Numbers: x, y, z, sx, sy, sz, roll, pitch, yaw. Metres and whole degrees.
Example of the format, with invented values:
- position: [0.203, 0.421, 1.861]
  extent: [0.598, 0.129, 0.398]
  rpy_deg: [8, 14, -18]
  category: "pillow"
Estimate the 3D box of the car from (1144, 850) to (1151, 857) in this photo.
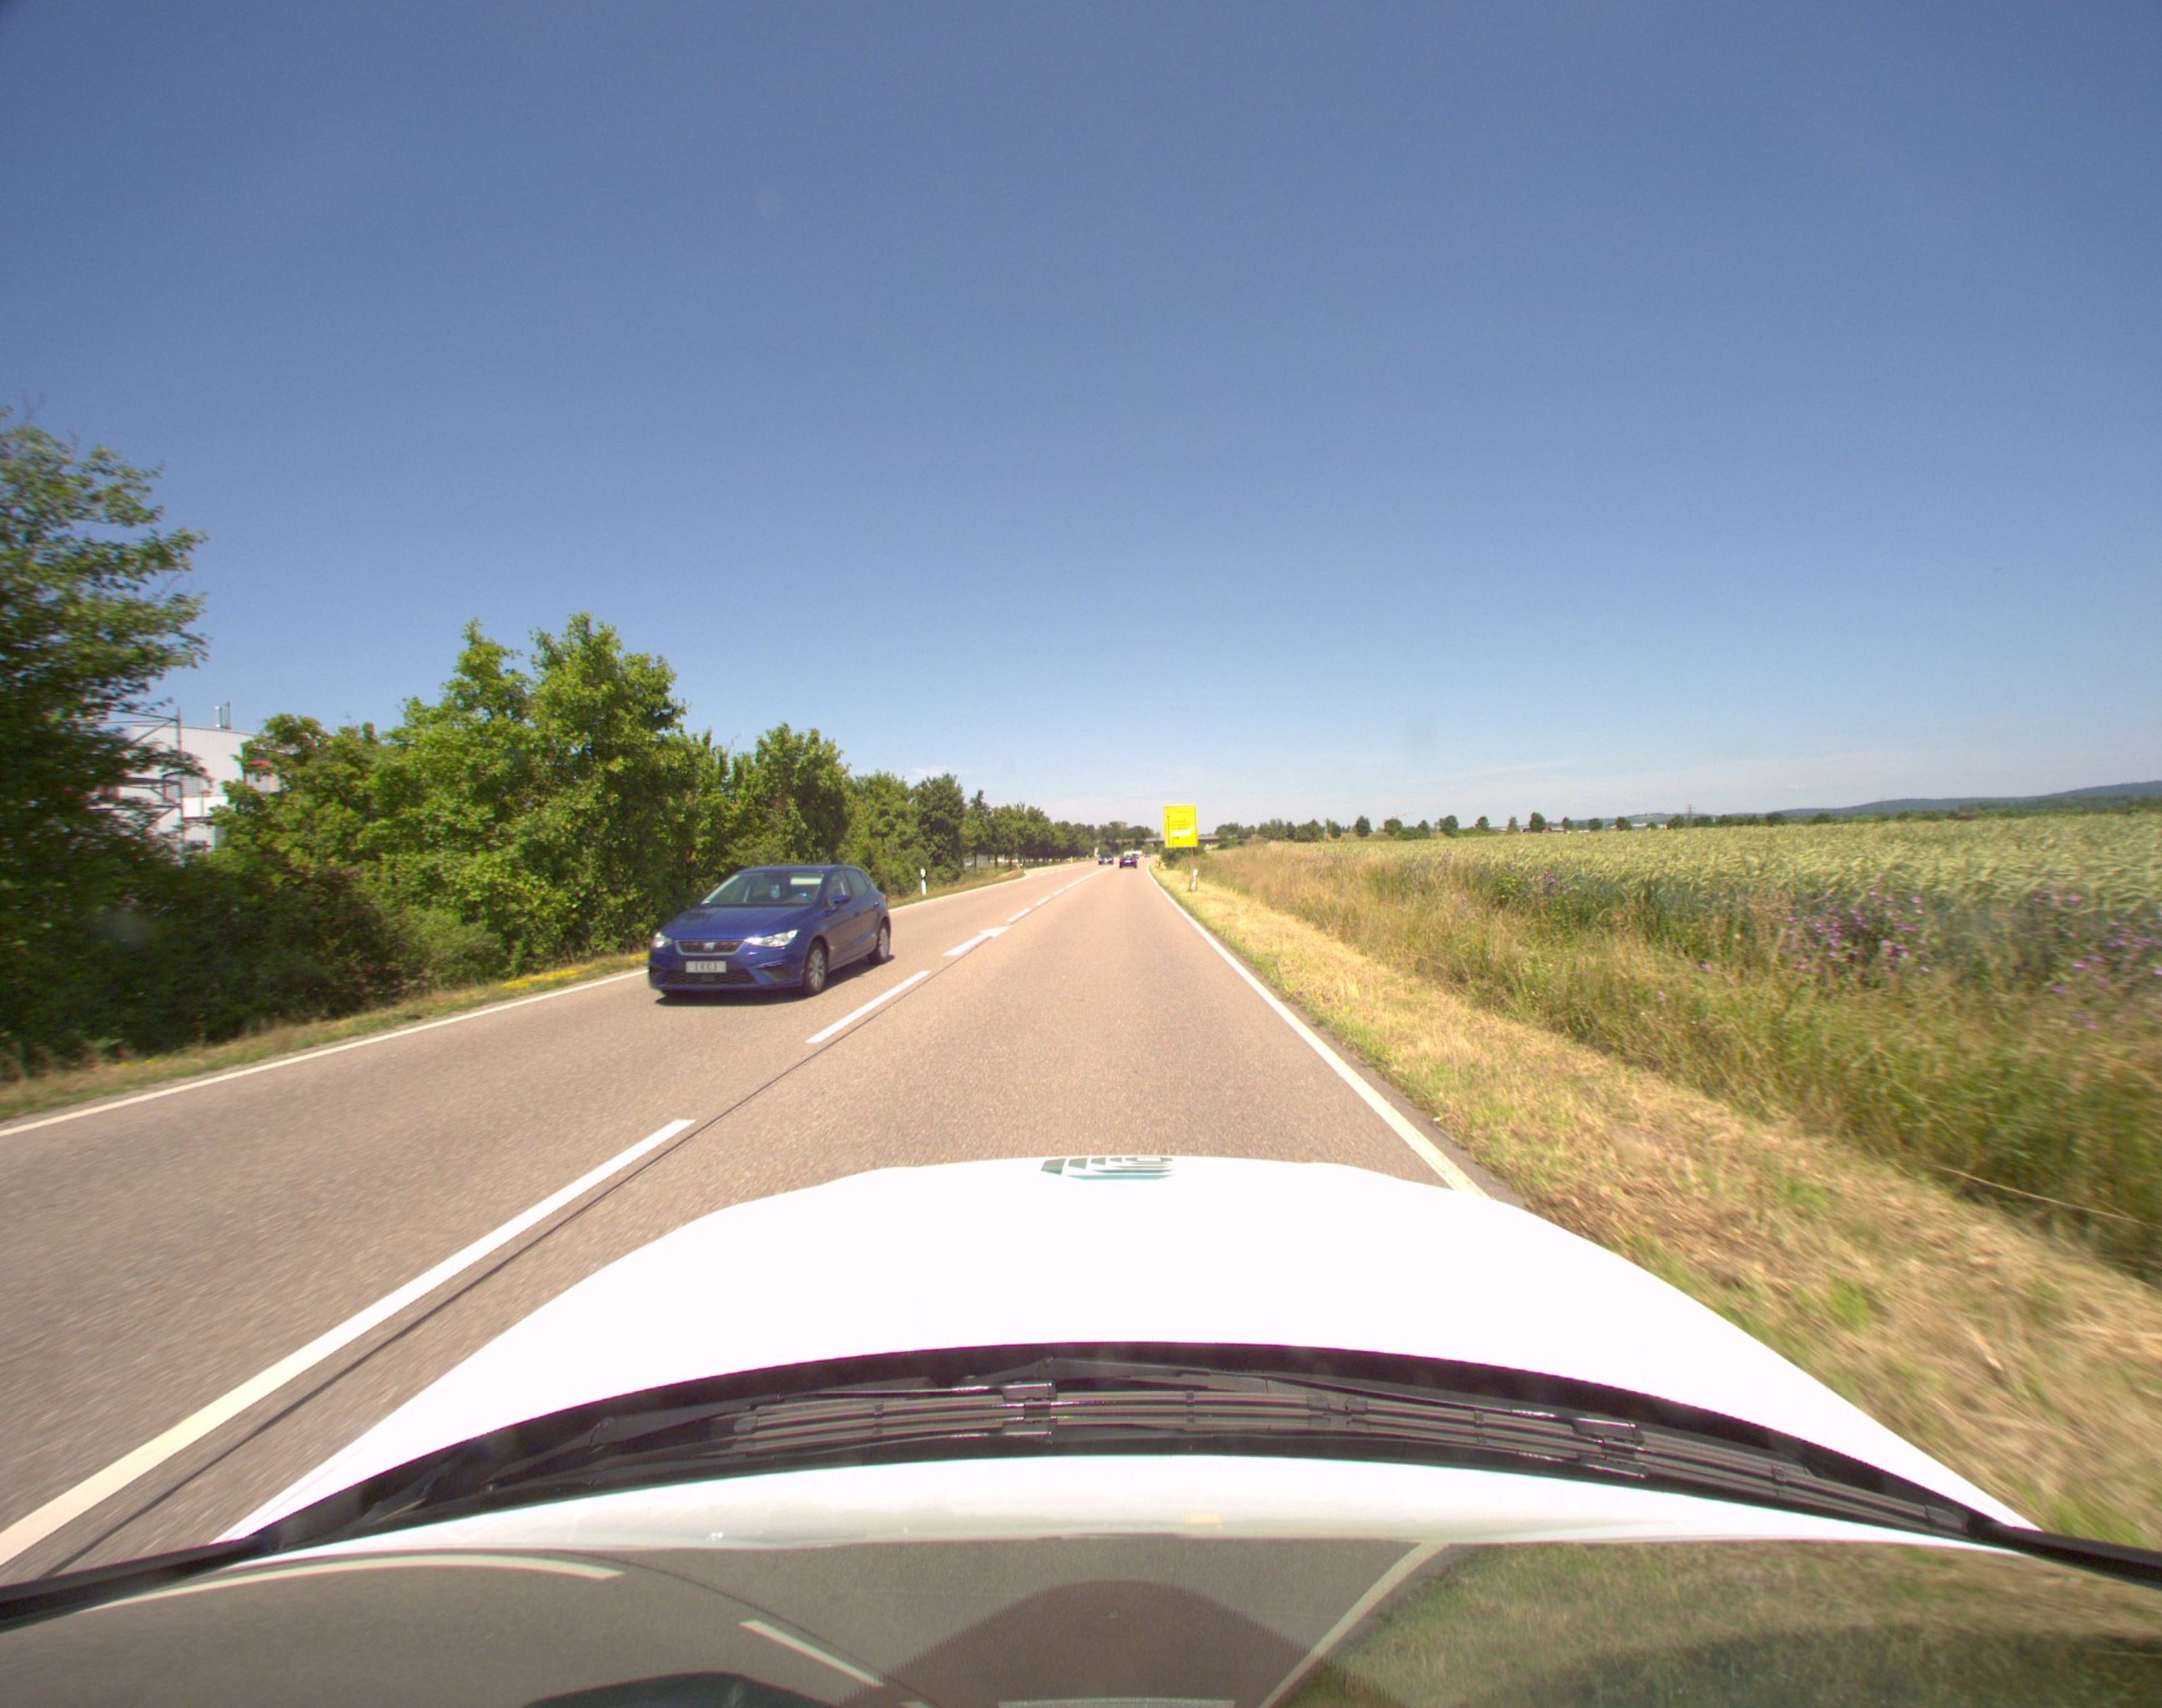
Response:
- position: [19.178, -0.163, 235.854]
  extent: [1.984, 2.014, 4.006]
  rpy_deg: [0, -1, 5]
  category: "car"

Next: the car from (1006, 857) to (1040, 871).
- position: [-8.610, 1.455, 121.144]
  extent: [4.675, 1.954, 1.811]
  rpy_deg: [-1, 0, -27]
  category: "car"

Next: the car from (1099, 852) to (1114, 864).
- position: [3.353, 0.535, 106.656]
  extent: [1.774, 1.420, 4.539]
  rpy_deg: [-1, 0, 4]
  category: "car"

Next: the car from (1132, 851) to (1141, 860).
- position: [12.658, 0.372, 185.187]
  extent: [1.984, 2.013, 4.005]
  rpy_deg: [0, 0, 4]
  category: "car"

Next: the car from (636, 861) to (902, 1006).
- position: [-3.607, 0.827, 10.254]
  extent: [1.646, 1.407, 4.002]
  rpy_deg: [-1, 0, 2]
  category: "car"

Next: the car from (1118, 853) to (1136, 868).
- position: [4.585, 0.671, 81.603]
  extent: [1.807, 1.441, 4.003]
  rpy_deg: [0, 0, 3]
  category: "car"

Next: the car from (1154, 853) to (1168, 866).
- position: [12.289, 0.822, 125.213]
  extent: [1.741, 2.014, 4.000]
  rpy_deg: [0, -1, 1]
  category: "car"
